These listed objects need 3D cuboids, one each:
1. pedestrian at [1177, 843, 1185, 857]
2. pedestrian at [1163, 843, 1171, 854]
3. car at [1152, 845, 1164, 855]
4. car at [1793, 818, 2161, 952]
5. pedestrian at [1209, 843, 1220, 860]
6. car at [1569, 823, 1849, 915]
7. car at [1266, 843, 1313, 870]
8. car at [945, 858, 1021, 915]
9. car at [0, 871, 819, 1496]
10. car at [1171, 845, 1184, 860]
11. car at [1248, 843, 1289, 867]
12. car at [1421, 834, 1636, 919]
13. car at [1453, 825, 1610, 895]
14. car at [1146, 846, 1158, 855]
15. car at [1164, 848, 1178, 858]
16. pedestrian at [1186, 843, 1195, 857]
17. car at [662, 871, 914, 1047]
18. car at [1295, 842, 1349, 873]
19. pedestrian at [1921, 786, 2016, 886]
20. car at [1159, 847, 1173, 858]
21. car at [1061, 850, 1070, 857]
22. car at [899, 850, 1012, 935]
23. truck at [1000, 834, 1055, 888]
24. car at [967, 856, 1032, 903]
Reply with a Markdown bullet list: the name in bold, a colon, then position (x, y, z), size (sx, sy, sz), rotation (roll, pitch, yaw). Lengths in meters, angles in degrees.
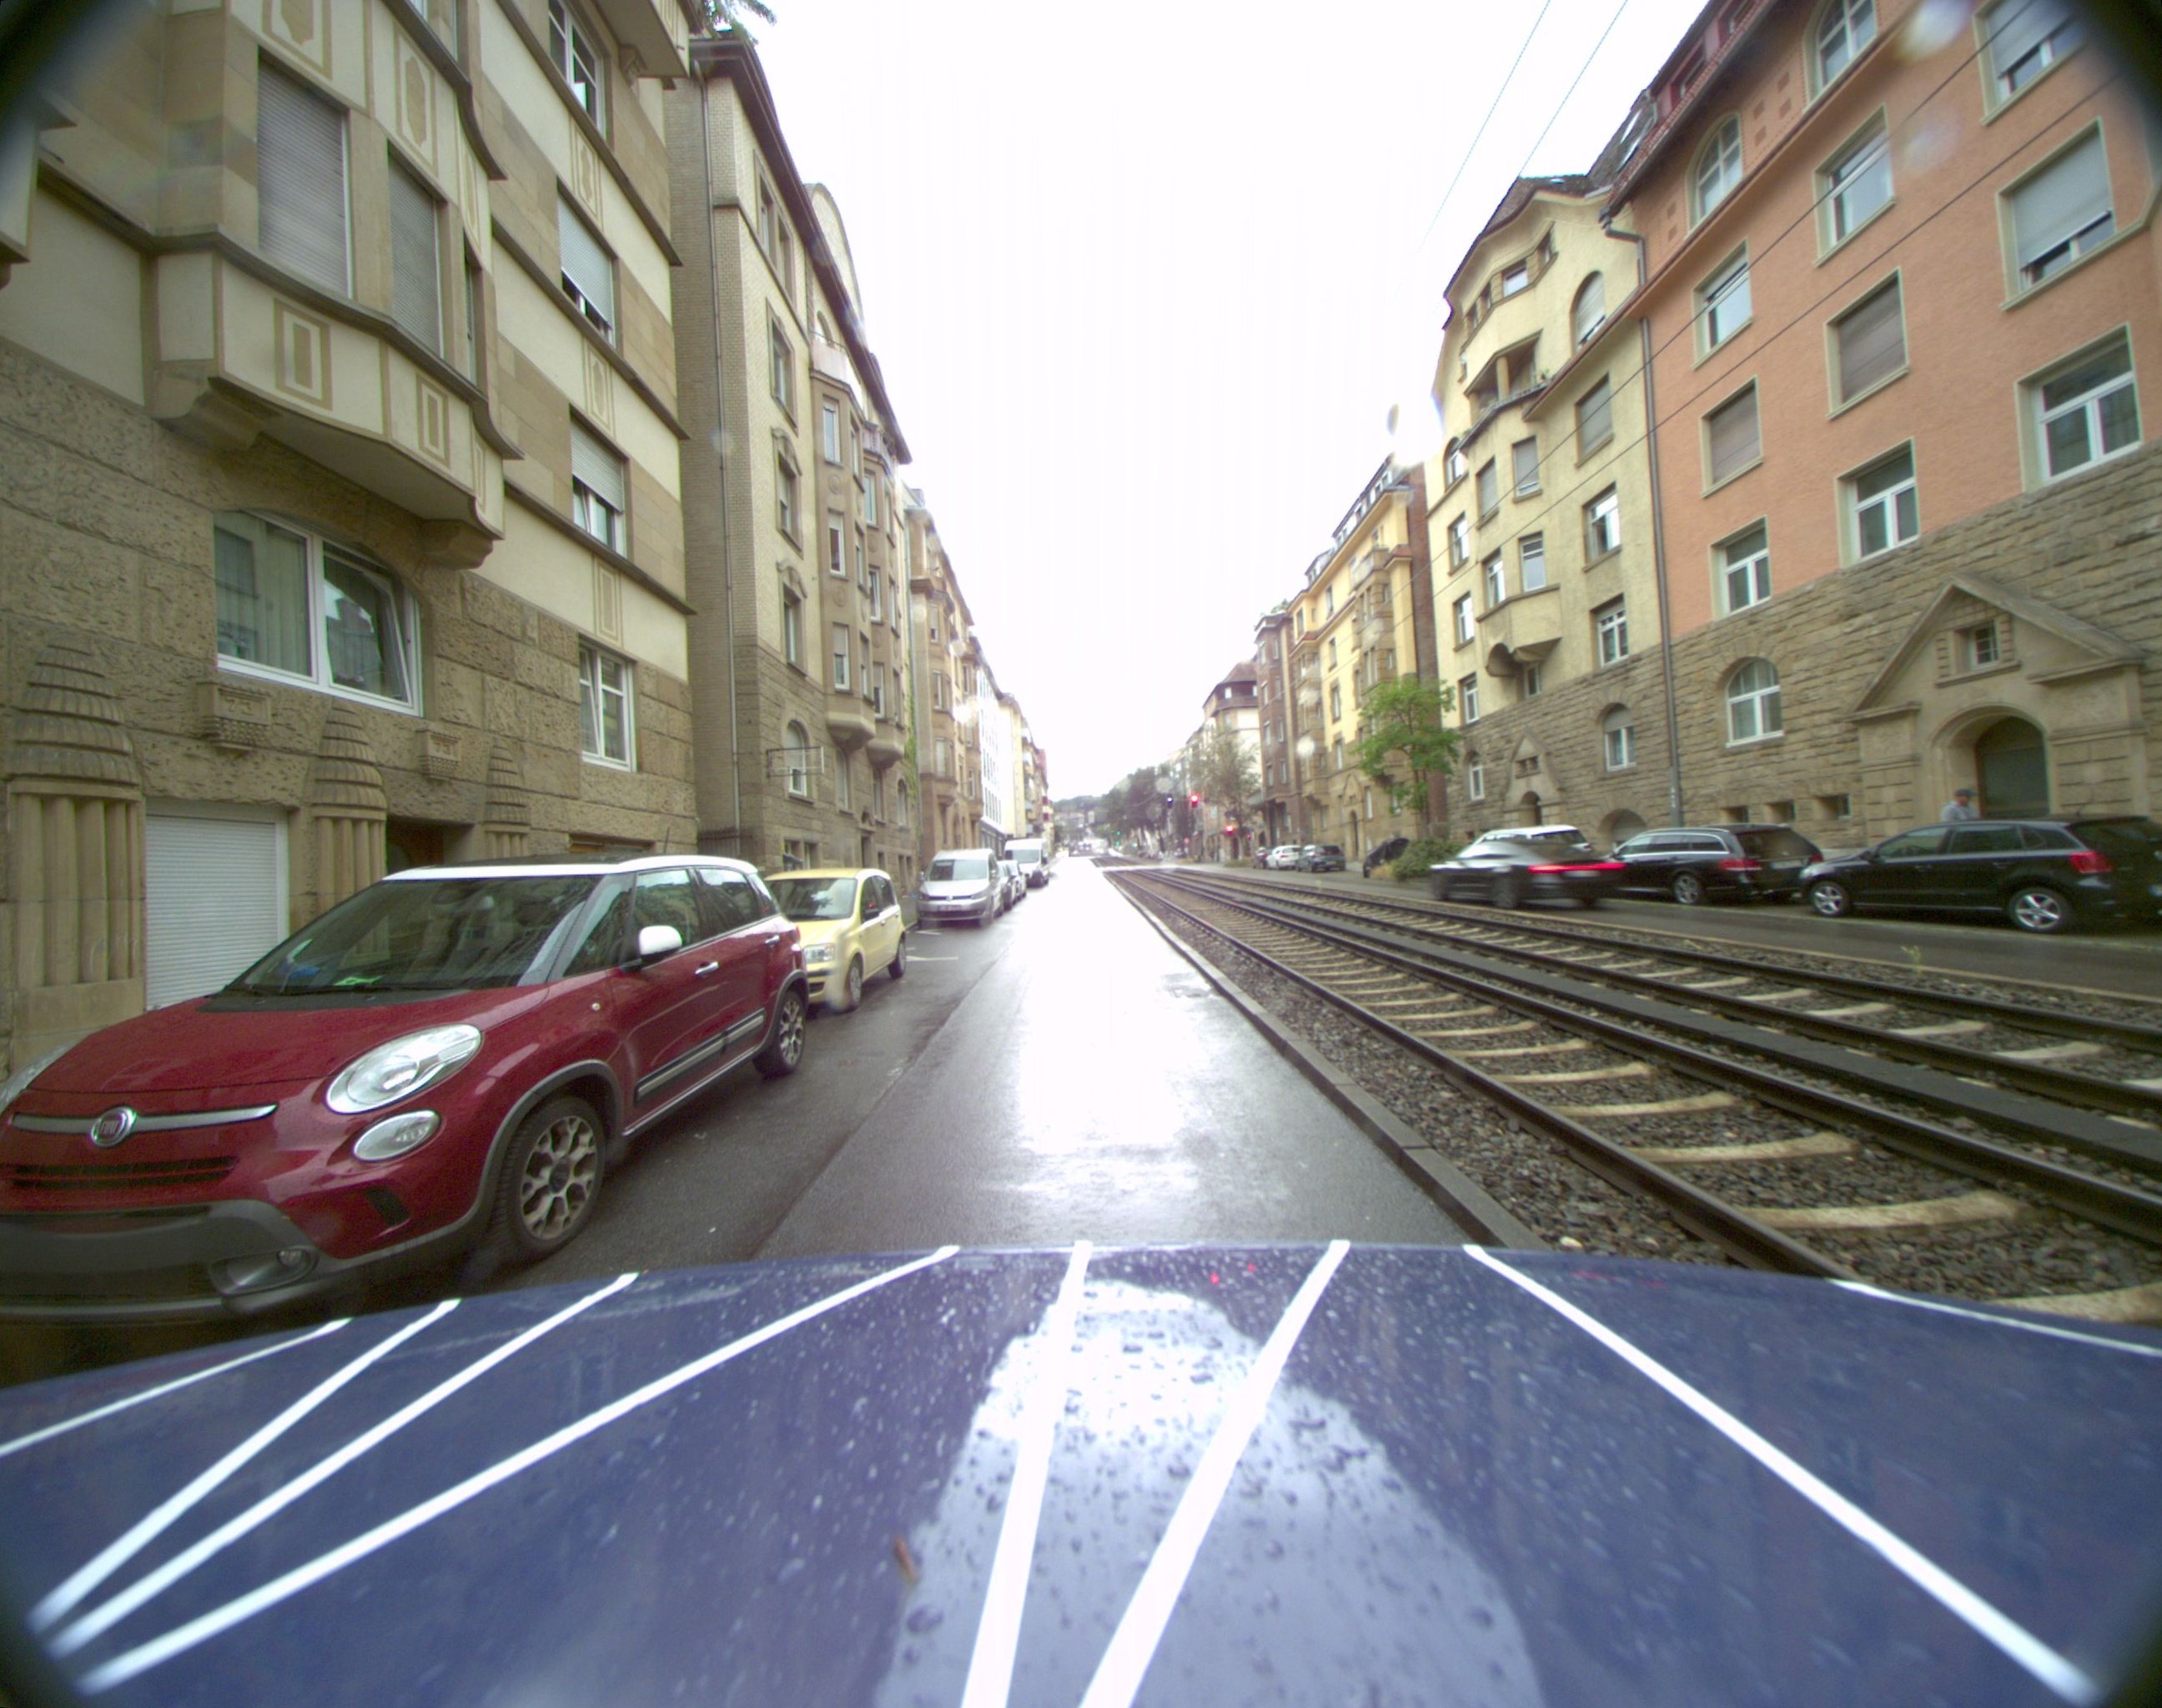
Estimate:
- **pedestrian**: position (14.779, -0.583, 112.110), size (1.056, 1.946, 1.163), rotation (-3, 1, 2)
- **pedestrian**: position (15.813, -1.032, 139.647), size (1.380, 1.946, 1.379), rotation (-3, 1, 2)
- **car**: position (12.848, -0.632, 126.839), size (1.657, 1.589, 3.775), rotation (-3, 0, 1)
- **car**: position (12.532, 0.324, 10.470), size (1.935, 1.488, 3.642), rotation (-2, 1, -2)
- **pedestrian**: position (15.196, -0.285, 86.554), size (1.056, 1.946, 1.163), rotation (-3, 1, 2)
- **car**: position (12.295, 0.257, 15.387), size (1.847, 1.486, 4.601), rotation (-3, 0, 1)
- **car**: position (12.477, 0.128, 45.656), size (1.771, 1.433, 4.031), rotation (-3, 0, 2)
- **car**: position (-2.960, 0.941, 23.820), size (1.999, 1.521, 3.999), rotation (-3, 0, -3)
- **car**: position (-3.031, 0.981, 4.096), size (1.807, 1.590, 3.999), rotation (-3, 0, -1)
- **car**: position (12.680, -0.232, 99.548), size (1.583, 1.669, 3.790), rotation (-3, 2, 7)
- **car**: position (12.487, 0.075, 50.751), size (1.771, 1.433, 3.845), rotation (-3, 0, 1)
- **car**: position (9.479, 0.420, 16.704), size (1.807, 1.514, 4.964), rotation (-2, 0, 1)
- **car**: position (12.276, 0.144, 21.050), size (1.867, 1.646, 4.146), rotation (-3, 0, 1)
- **car**: position (12.445, -0.632, 133.707), size (1.632, 1.537, 3.801), rotation (-3, 0, 1)
- **car**: position (12.582, -0.086, 106.386), size (1.583, 1.303, 3.845), rotation (-3, 0, 1)
- **pedestrian**: position (16.083, -0.632, 111.953), size (1.056, 1.946, 1.163), rotation (-3, 1, 2)
- **car**: position (-3.186, 1.043, 9.045), size (1.580, 1.520, 3.578), rotation (-3, 0, -1)
- **car**: position (12.509, 0.138, 39.617), size (1.678, 1.433, 3.845), rotation (-4, 1, 3)
- **pedestrian**: position (15.081, -0.302, 12.932), size (0.701, 1.633, 0.765), rotation (-2, 1, 1)
- **car**: position (12.878, -0.275, 115.369), size (1.771, 1.507, 3.845), rotation (-3, 0, 1)
- **car**: position (-3.875, -0.091, 194.818), size (1.998, 1.838, 4.000), rotation (-3, 0, 1)
- **car**: position (-3.007, 0.851, 19.203), size (1.968, 1.792, 4.459), rotation (-3, 0, 1)
- **truck**: position (-2.719, 0.344, 39.949), size (2.235, 2.521, 6.143), rotation (-3, 0, 1)
- **car**: position (-2.949, 0.883, 28.320), size (1.891, 1.521, 3.929), rotation (-3, 0, 1)
